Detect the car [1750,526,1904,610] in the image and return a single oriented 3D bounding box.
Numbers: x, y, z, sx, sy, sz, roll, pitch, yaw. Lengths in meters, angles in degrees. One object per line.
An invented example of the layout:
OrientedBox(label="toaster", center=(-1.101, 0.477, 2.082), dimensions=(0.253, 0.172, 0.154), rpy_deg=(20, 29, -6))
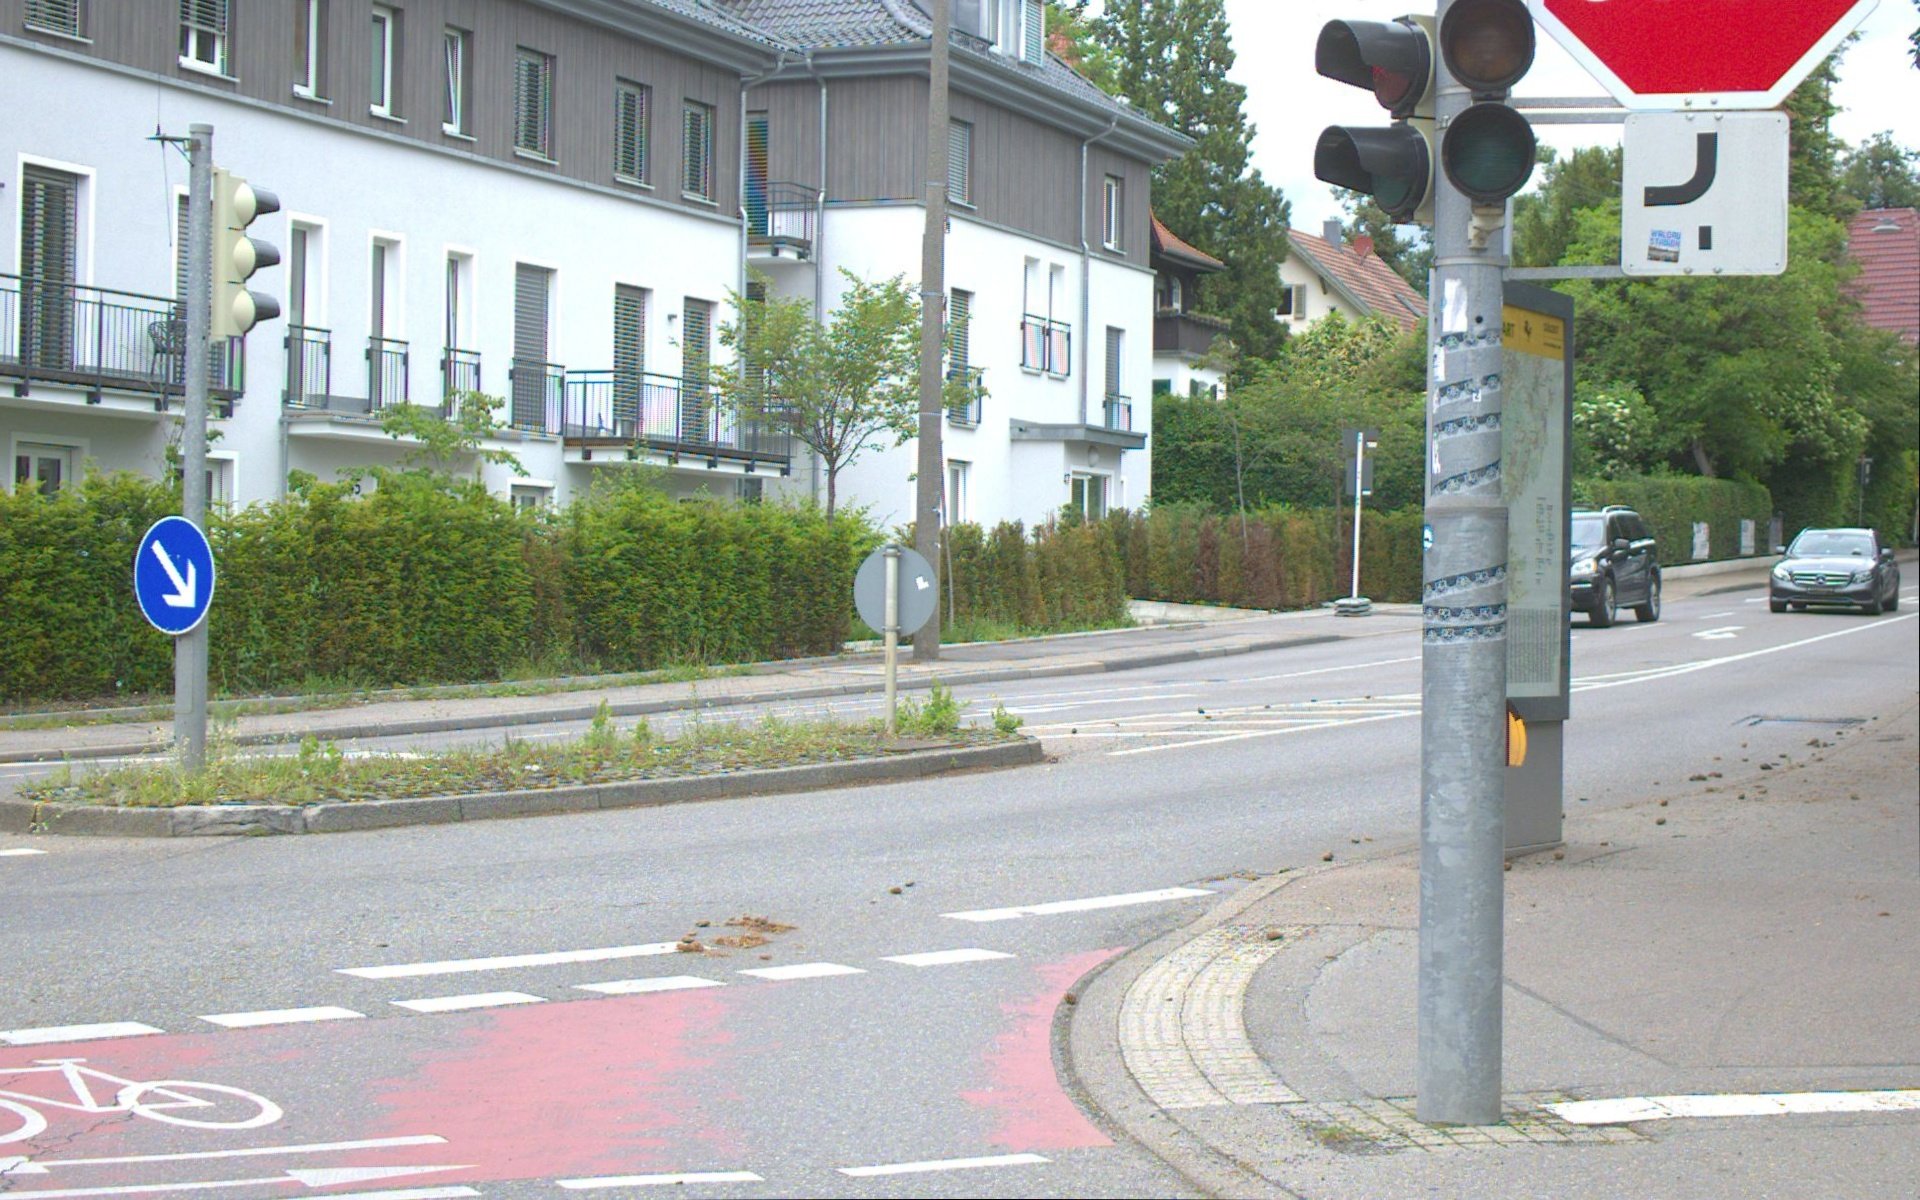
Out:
OrientedBox(label="car", center=(15.192, -0.588, 60.092), dimensions=(1.941, 1.399, 4.737), rpy_deg=(1, 2, 22))

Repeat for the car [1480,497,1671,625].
OrientedBox(label="car", center=(9.615, -0.599, 53.361), dimensions=(1.914, 1.874, 5.136), rpy_deg=(-1, 0, 22))
